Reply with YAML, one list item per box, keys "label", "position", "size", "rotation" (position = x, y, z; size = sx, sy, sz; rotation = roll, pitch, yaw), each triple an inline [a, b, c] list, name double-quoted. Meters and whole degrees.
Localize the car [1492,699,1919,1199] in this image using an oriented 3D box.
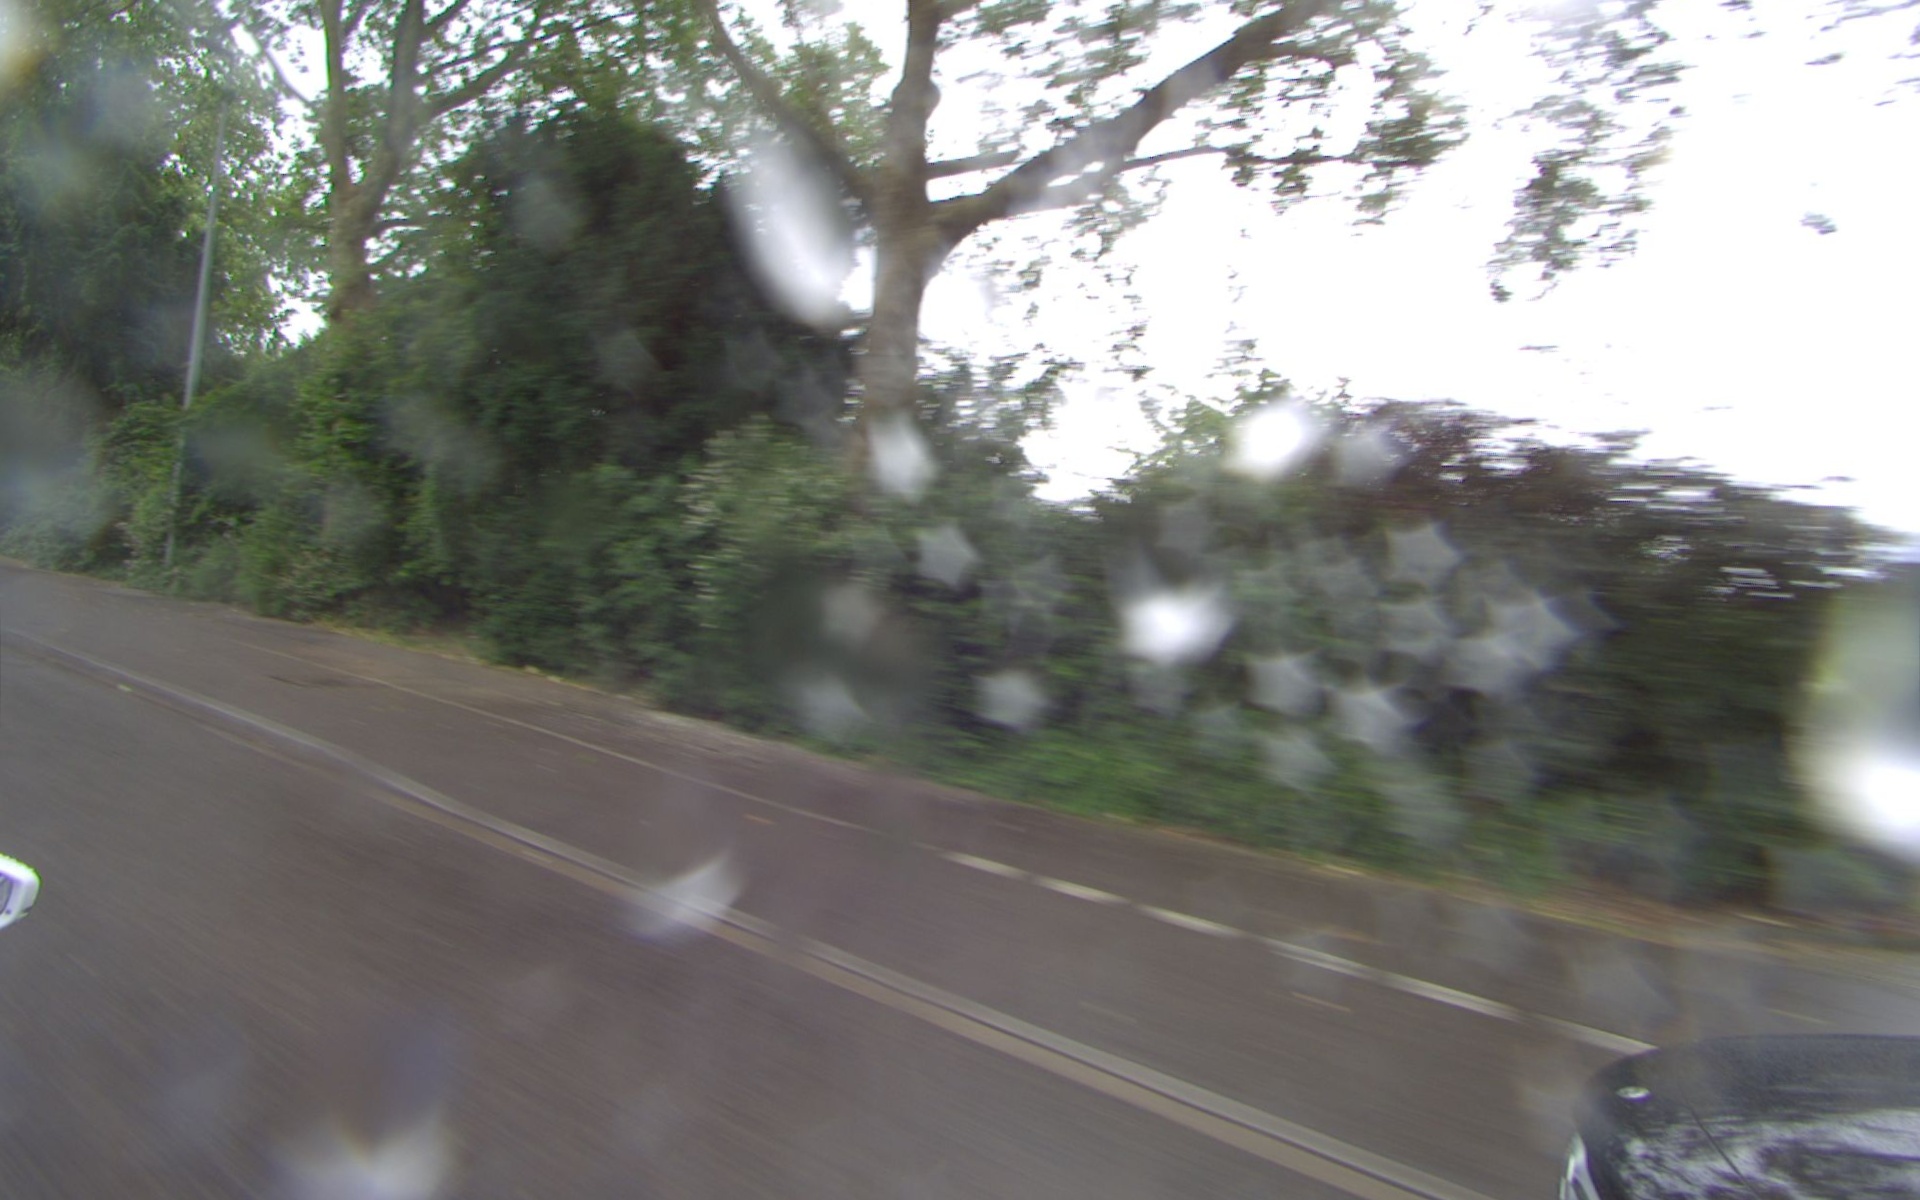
- label: "car"
  position: [2.980, 1.189, 0.940]
  size: [4.348, 1.547, 1.820]
  rotation: [6, -2, 31]
